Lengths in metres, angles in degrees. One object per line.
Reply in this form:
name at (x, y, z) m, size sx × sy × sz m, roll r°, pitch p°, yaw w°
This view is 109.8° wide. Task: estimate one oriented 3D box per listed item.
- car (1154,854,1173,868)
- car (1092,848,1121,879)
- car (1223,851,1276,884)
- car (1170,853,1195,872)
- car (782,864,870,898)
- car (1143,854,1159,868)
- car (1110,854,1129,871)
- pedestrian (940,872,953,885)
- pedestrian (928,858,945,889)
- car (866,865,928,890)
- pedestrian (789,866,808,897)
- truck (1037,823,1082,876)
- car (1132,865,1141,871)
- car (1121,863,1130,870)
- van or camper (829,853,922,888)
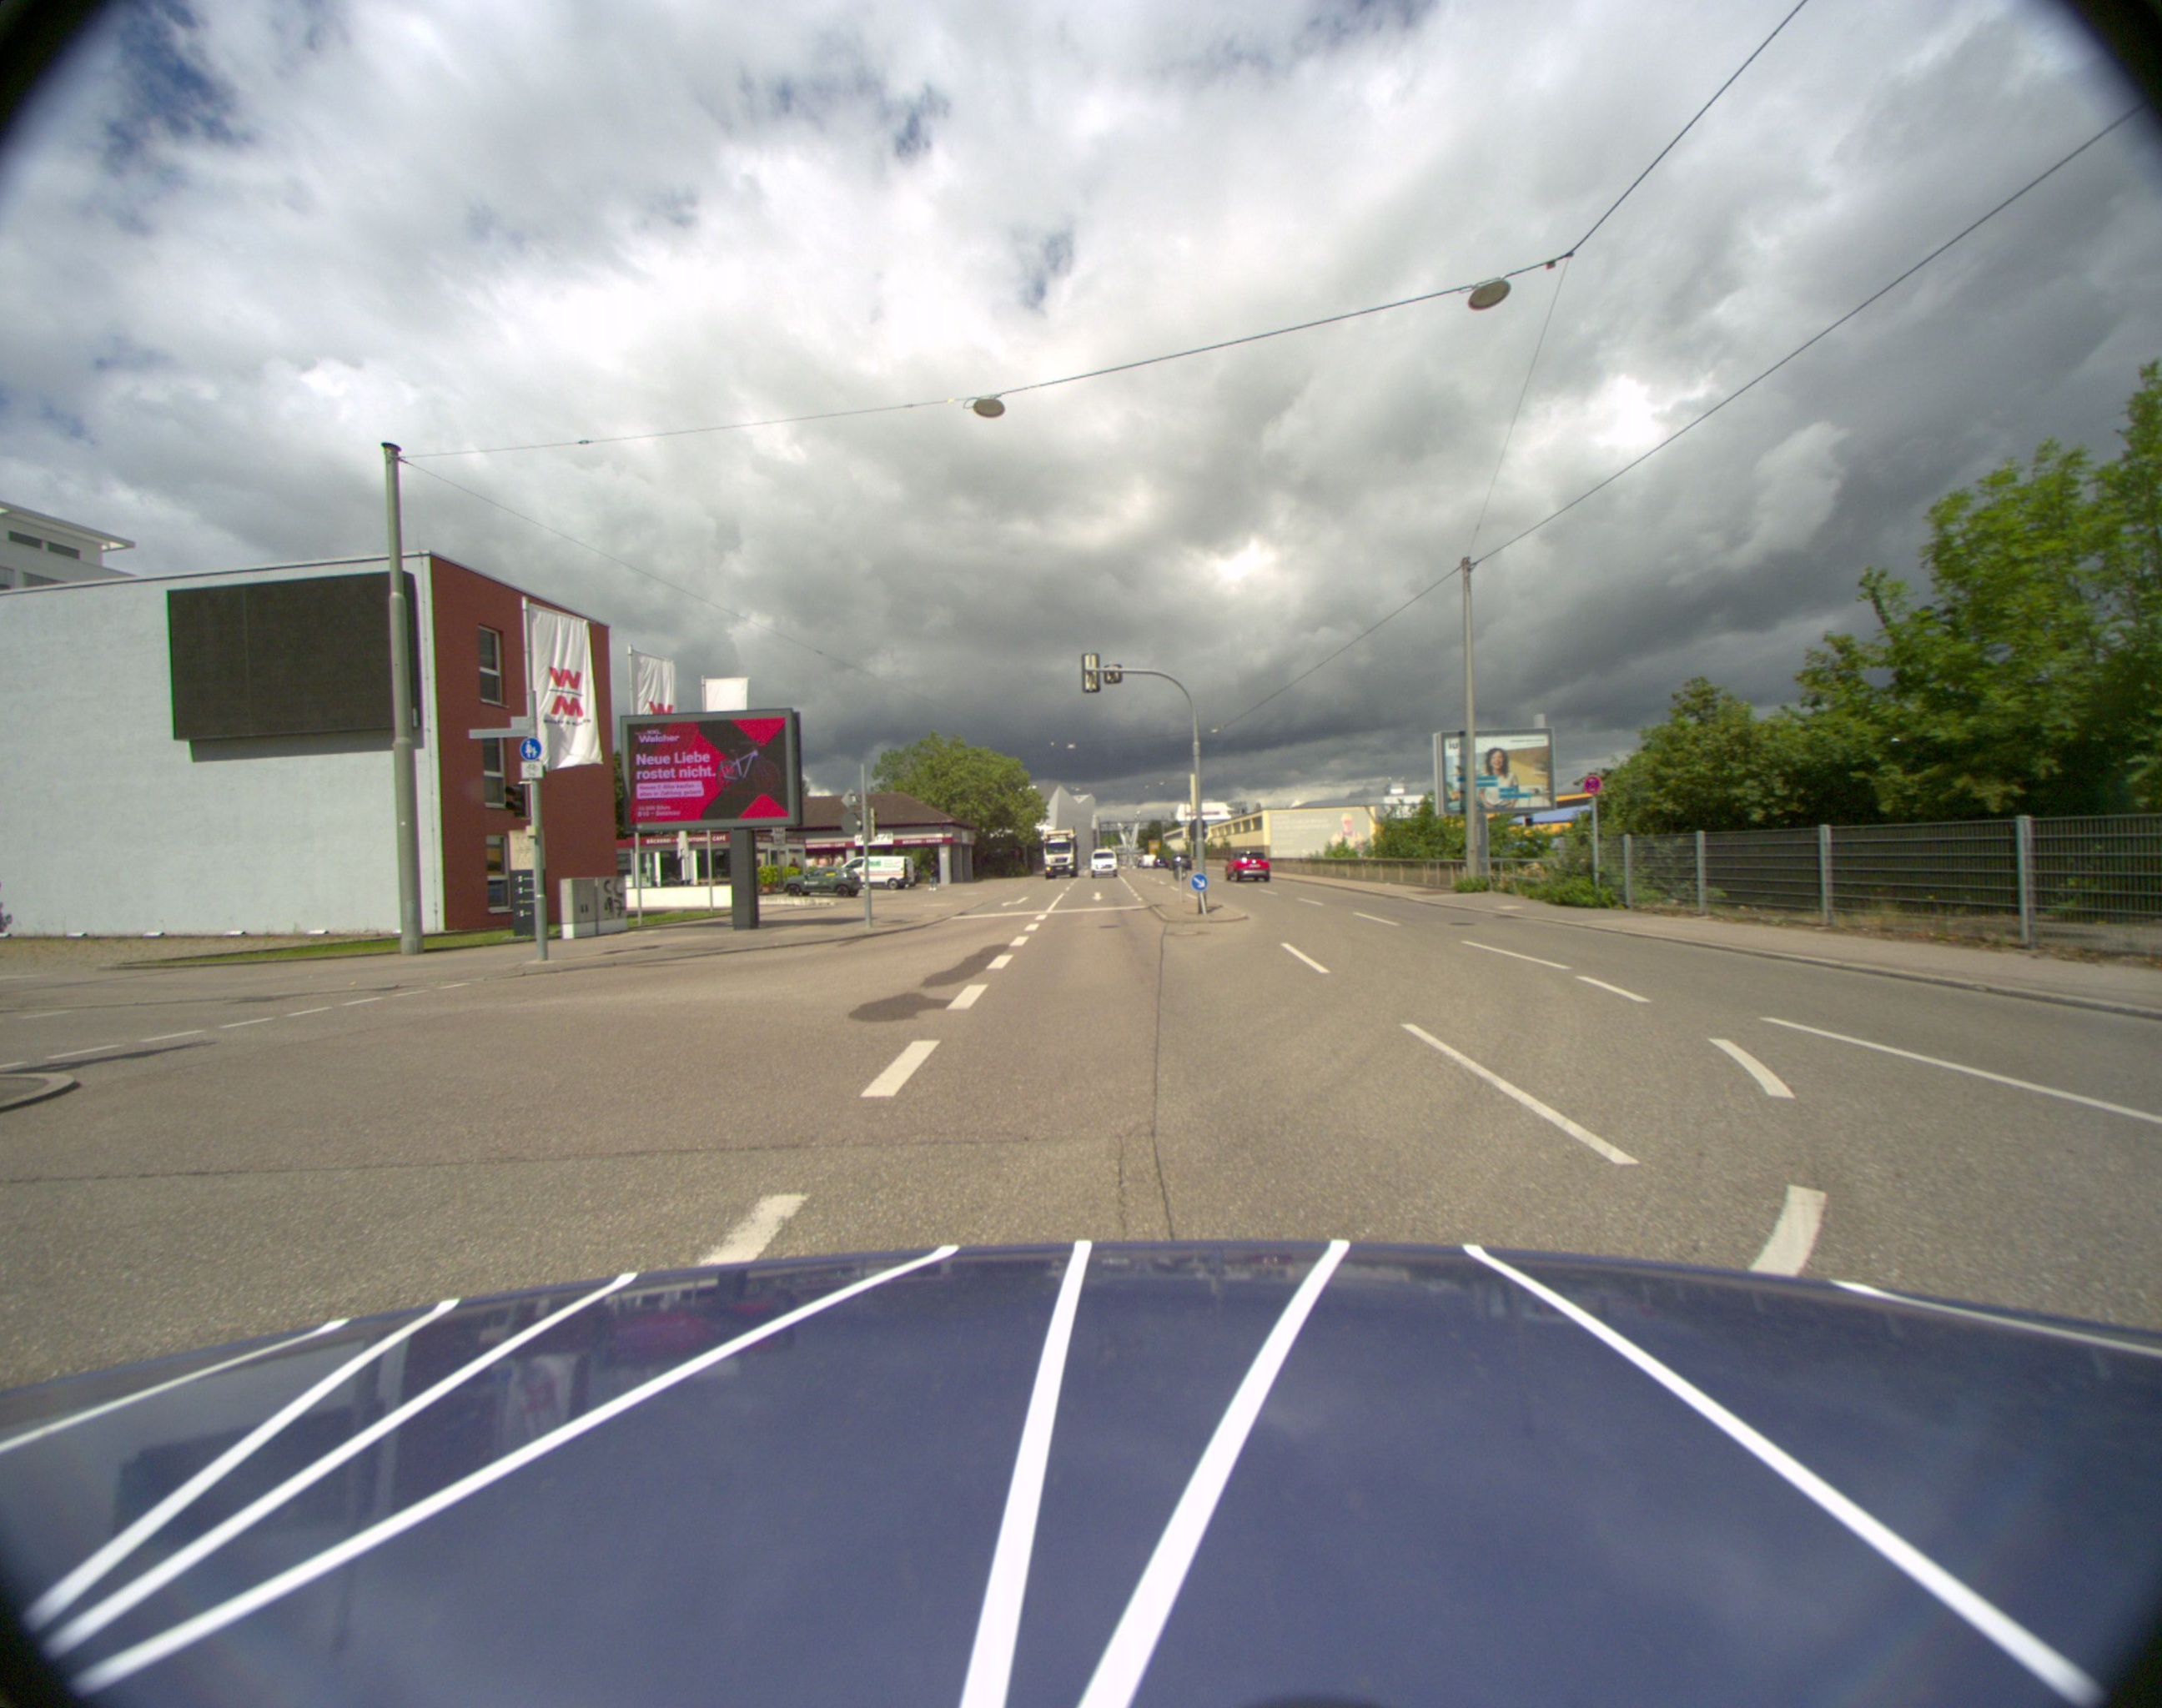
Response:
car at (9.848, 0.810, 90.760) m, size 1.860 × 1.608 × 4.001 m, roll -3°, pitch 0°, yaw 2°
car at (1.893, 0.669, 55.172) m, size 1.935 × 2.078 × 4.209 m, roll -2°, pitch 0°, yaw 4°
car at (8.686, 0.690, 39.538) m, size 1.935 × 1.589 × 4.153 m, roll -1°, pitch 0°, yaw 2°
car at (9.484, 0.793, 71.048) m, size 1.860 × 1.608 × 4.001 m, roll -3°, pitch 0°, yaw 2°
car at (-12.510, 1.302, 37.432) m, size 3.675 × 1.477 × 1.762 m, roll 2°, pitch 1°, yaw 3°
car at (10.549, 1.040, 114.084) m, size 1.896 × 2.002 × 5.651 m, roll -3°, pitch 0°, yaw 1°
car at (4.238, 0.910, 83.781) m, size 1.870 × 1.781 × 4.208 m, roll -2°, pitch 0°, yaw 0°
pedestrian at (-13.805, 2.496, 77.833) m, size 0.884 × 1.241 × 0.967 m, roll -3°, pitch 0°, yaw 30°
pedestrian at (-8.285, 1.119, 43.489) m, size 0.714 × 1.697 × 0.739 m, roll -3°, pitch 0°, yaw 2°
car at (-11.743, 1.489, 48.611) m, size 3.460 × 1.477 × 1.835 m, roll 2°, pitch 1°, yaw -1°
pedestrian at (-15.678, 1.519, 42.198) m, size 0.749 × 1.697 × 0.571 m, roll -2°, pitch 0°, yaw 29°
truck at (-1.620, -0.230, 62.824) m, size 2.836 × 3.888 × 10.370 m, roll -2°, pitch -1°, yaw 2°
car at (12.472, 3.091, 170.115) m, size 1.612 × 1.404 × 3.800 m, roll -1°, pitch -1°, yaw 0°
car at (10.223, 2.917, 175.199) m, size 1.806 × 1.543 × 3.770 m, roll -3°, pitch 0°, yaw -2°
van or camper at (-12.278, 0.966, 45.604) m, size 4.909 × 1.946 × 2.212 m, roll 0°, pitch 1°, yaw 2°
